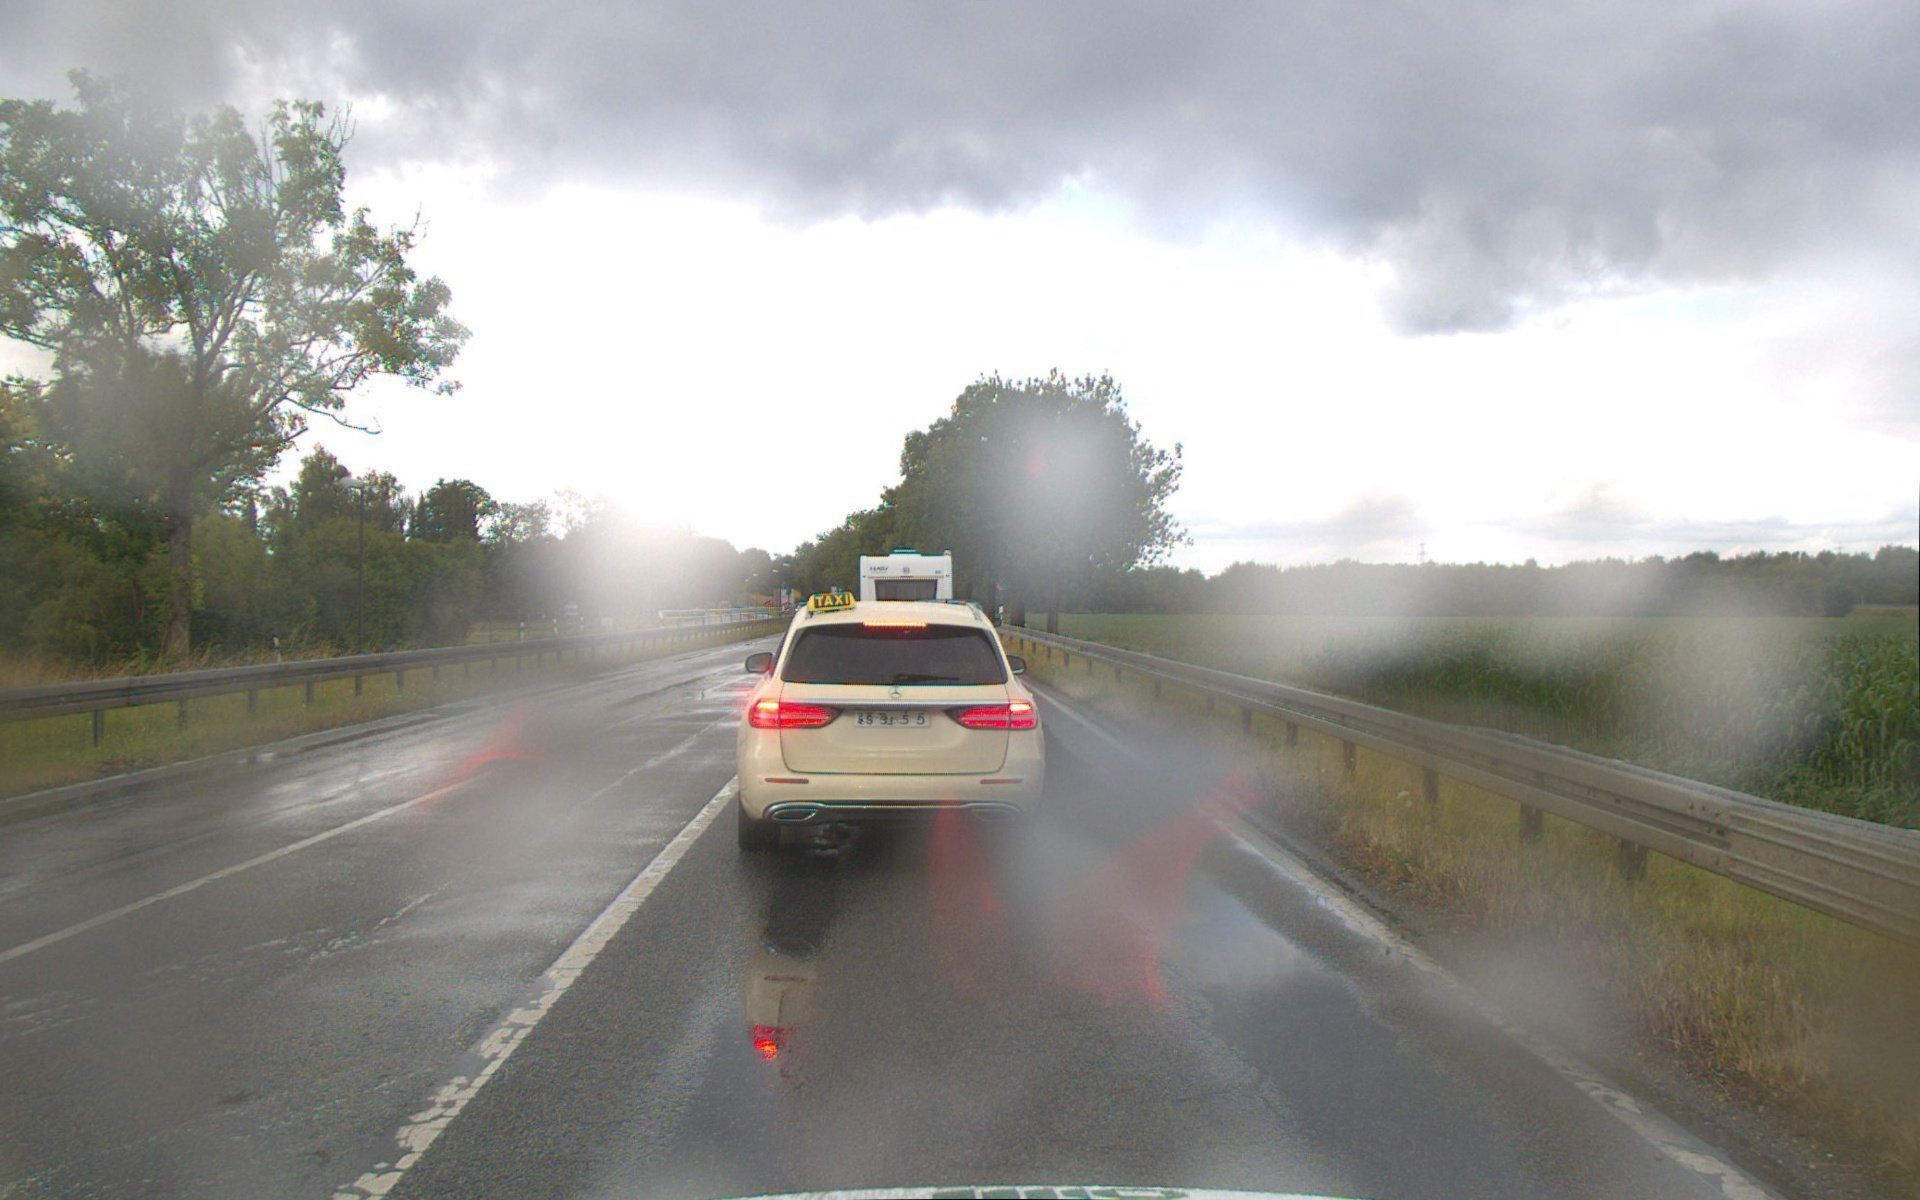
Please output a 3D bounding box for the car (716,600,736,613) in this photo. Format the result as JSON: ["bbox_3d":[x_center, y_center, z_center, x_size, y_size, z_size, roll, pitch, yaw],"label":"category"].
[{"bbox_3d":[-29.334,0.815,207.284,1.953,1.680,4.000,0,0,0],"label":"car"}]

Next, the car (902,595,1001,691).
[{"bbox_3d":[-0.184,0.689,28.667,1.594,1.556,3.931,0,0,-2],"label":"car"}]

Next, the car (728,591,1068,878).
[{"bbox_3d":[-0.337,0.715,10.794,1.788,1.511,4.144,0,0,0],"label":"car"}]

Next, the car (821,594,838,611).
[{"bbox_3d":[-16.248,0.327,206.150,1.954,2.049,3.997,0,0,-4],"label":"car"}]

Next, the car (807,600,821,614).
[{"bbox_3d":[-21.296,1.049,241.443,1.955,2.049,3.994,0,0,-7],"label":"car"}]

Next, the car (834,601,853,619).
[{"bbox_3d":[-13.624,1.153,193.716,1.953,2.087,3.999,0,0,-1],"label":"car"}]

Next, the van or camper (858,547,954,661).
[{"bbox_3d":[-1.362,0.078,42.390,2.303,2.727,5.766,0,0,-1],"label":"van or camper"}]
